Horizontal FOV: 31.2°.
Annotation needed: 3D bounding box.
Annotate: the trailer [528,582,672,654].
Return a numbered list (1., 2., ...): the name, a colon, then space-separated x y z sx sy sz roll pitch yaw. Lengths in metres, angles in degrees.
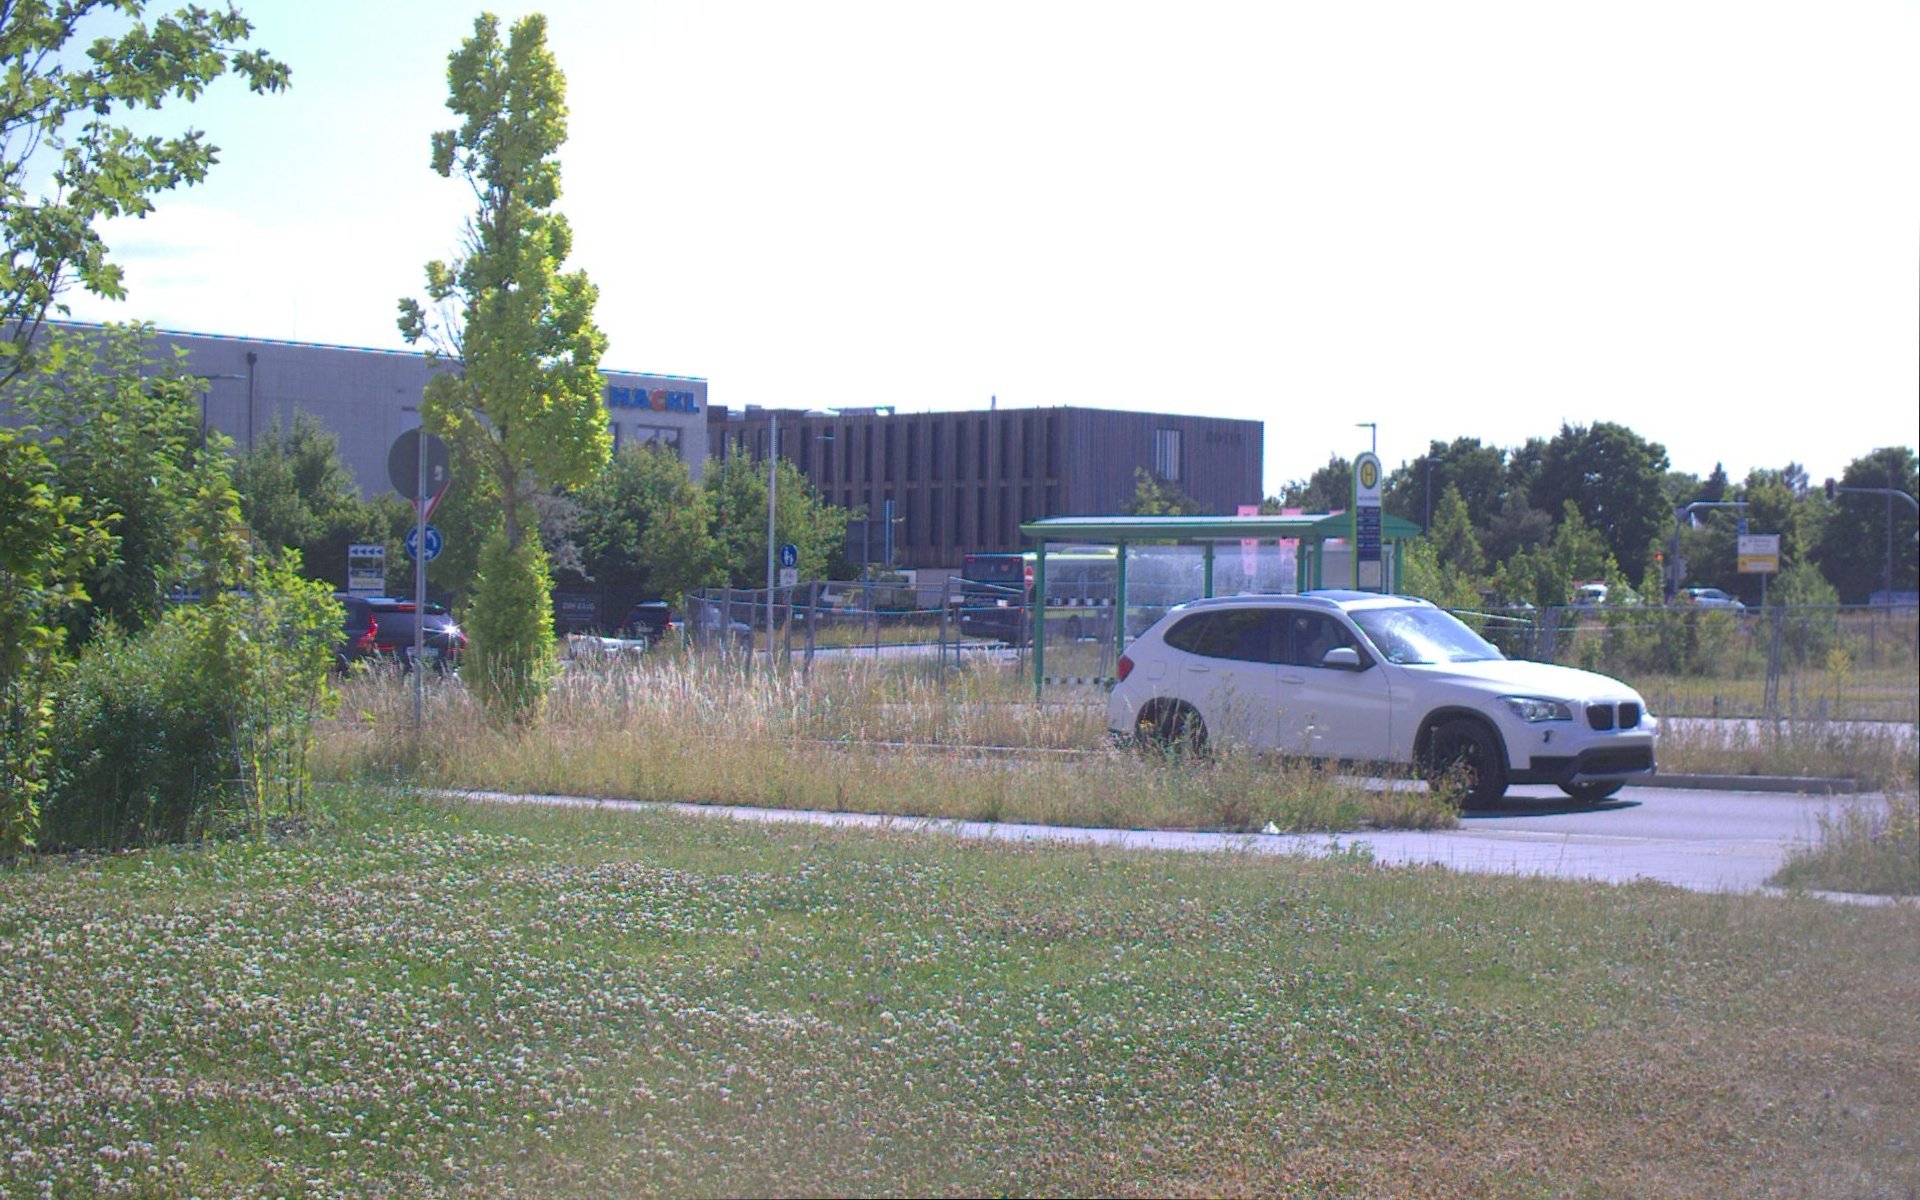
1. trailer: -9.711 0.505 93.026 1.825 1.853 3.993 2 0 30

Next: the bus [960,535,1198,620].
1. bus: 4.194 -0.713 116.716 2.577 2.726 11.547 2 1 32

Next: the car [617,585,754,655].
1. car: -7.673 0.573 96.435 1.825 1.853 3.993 2 0 30

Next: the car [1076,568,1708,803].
1. car: 3.188 0.599 26.050 4.567 1.546 1.737 2 0 43
